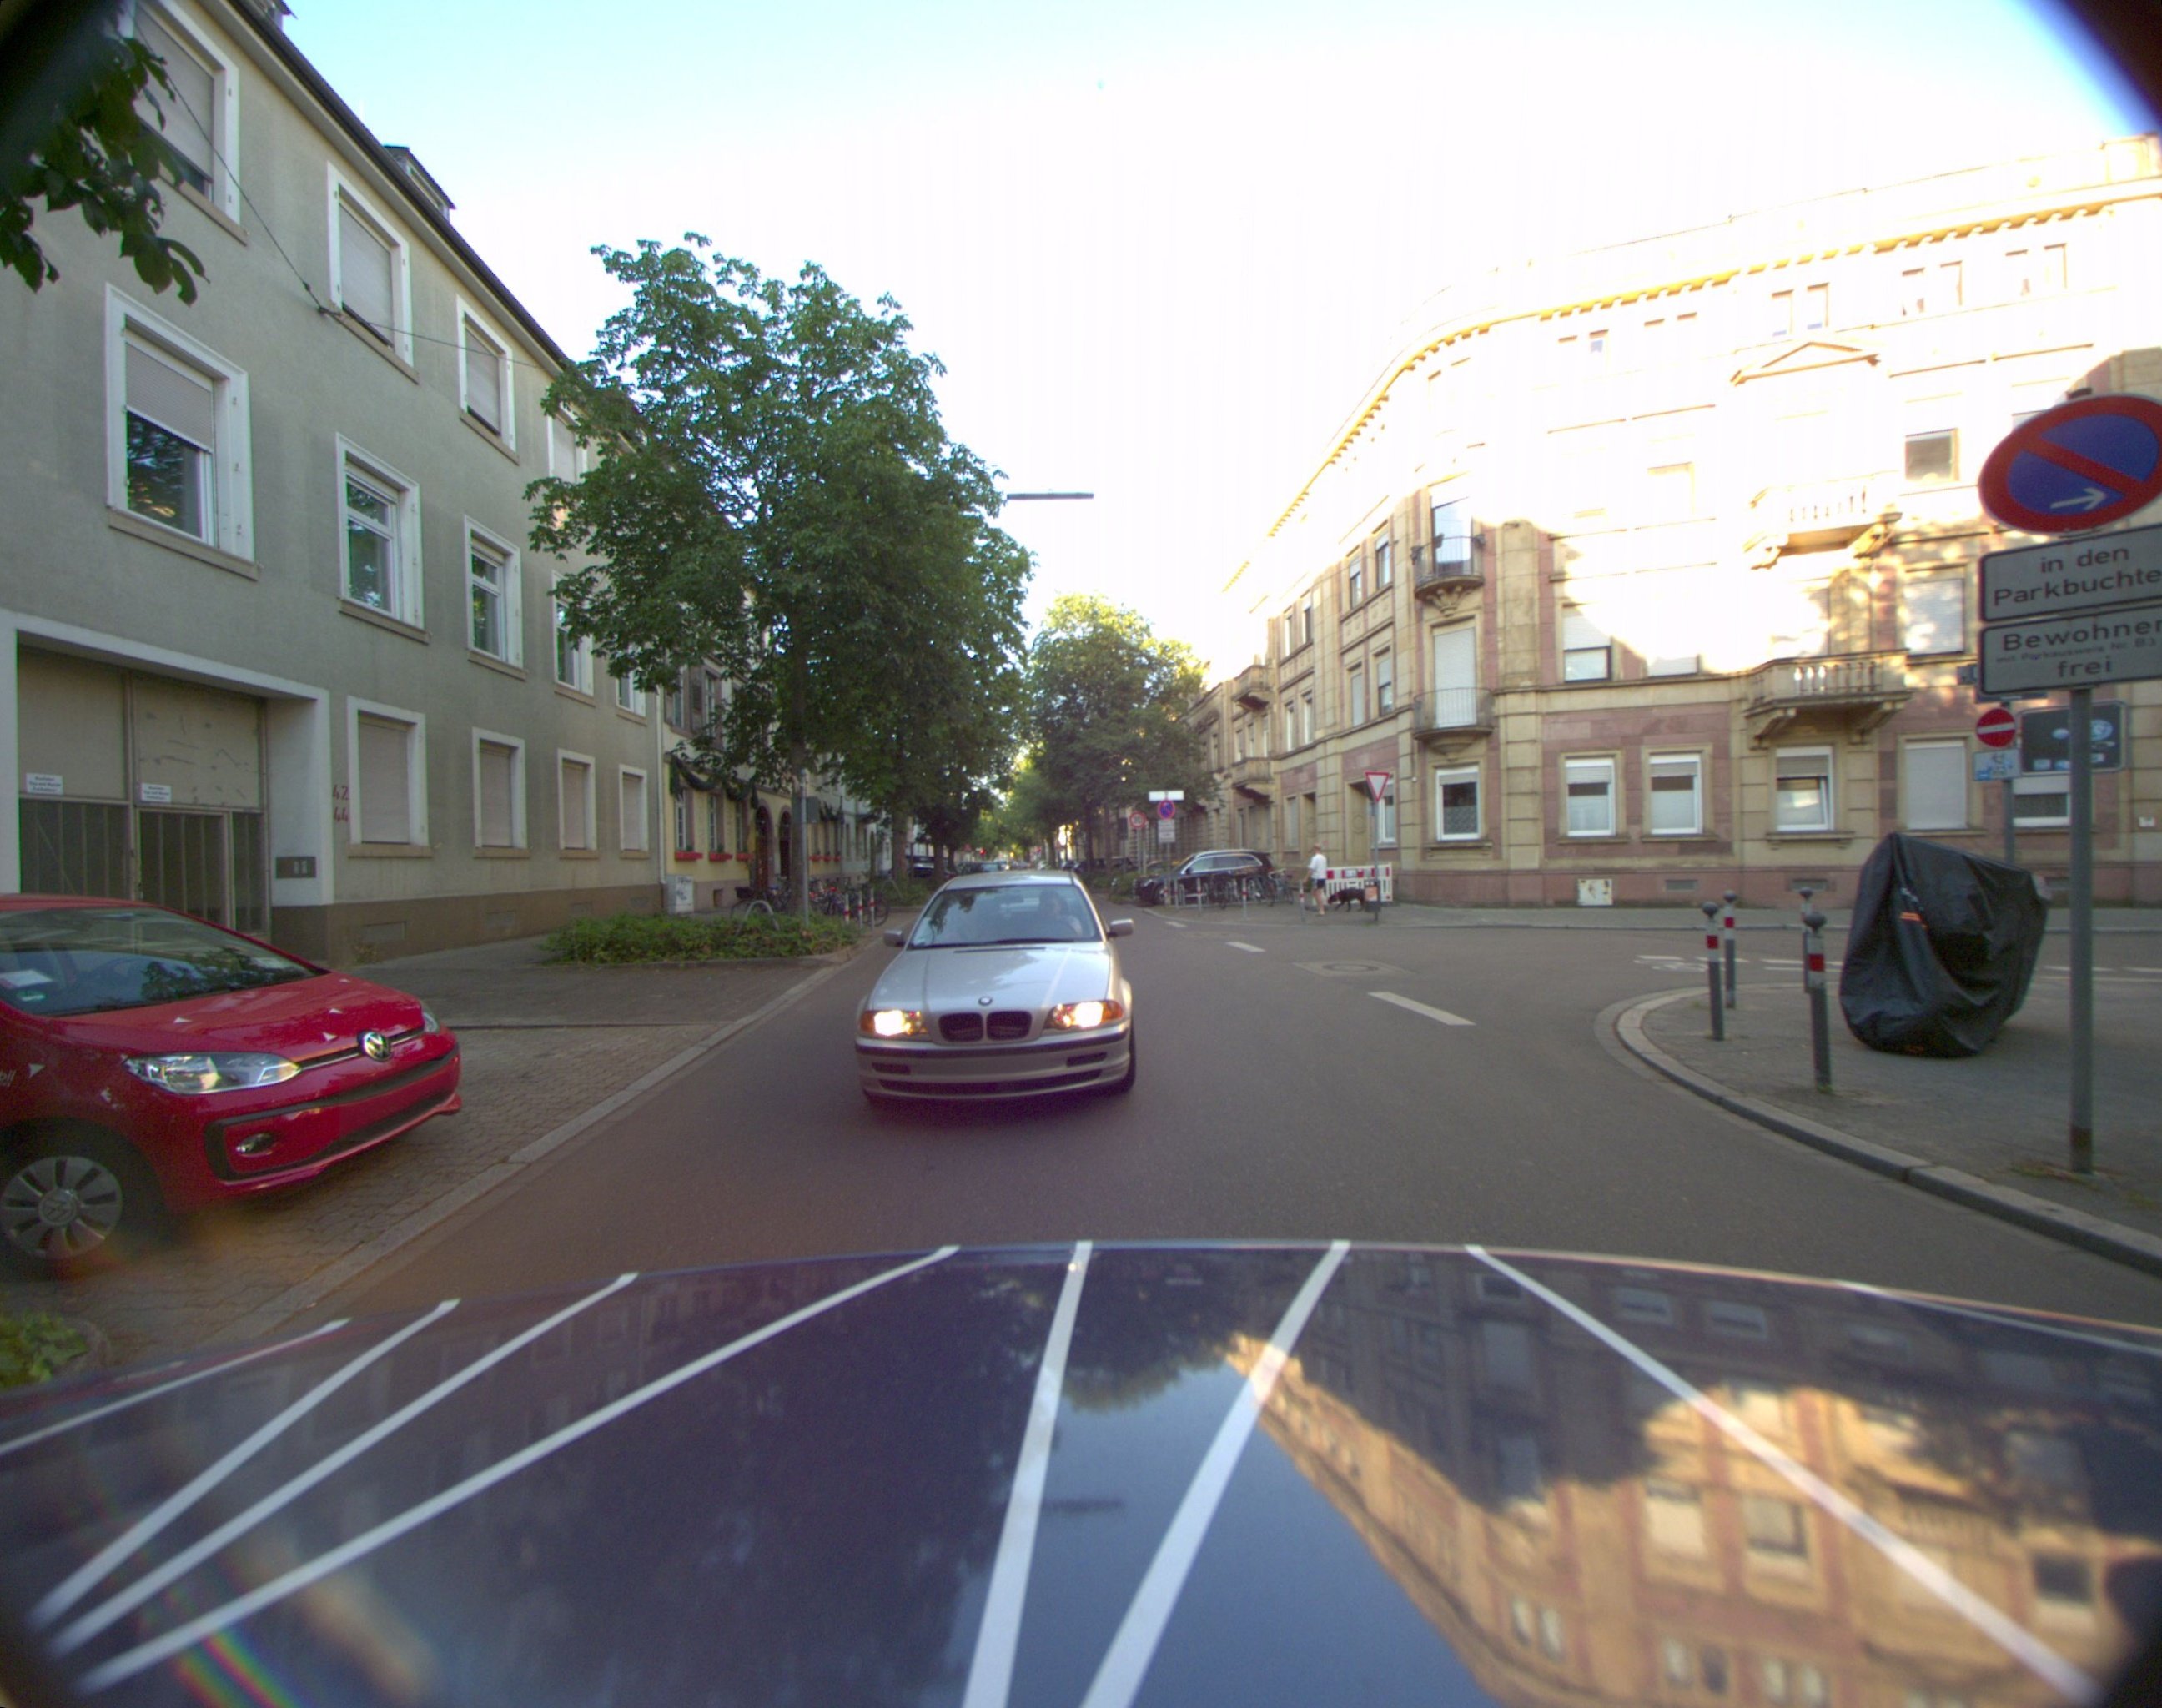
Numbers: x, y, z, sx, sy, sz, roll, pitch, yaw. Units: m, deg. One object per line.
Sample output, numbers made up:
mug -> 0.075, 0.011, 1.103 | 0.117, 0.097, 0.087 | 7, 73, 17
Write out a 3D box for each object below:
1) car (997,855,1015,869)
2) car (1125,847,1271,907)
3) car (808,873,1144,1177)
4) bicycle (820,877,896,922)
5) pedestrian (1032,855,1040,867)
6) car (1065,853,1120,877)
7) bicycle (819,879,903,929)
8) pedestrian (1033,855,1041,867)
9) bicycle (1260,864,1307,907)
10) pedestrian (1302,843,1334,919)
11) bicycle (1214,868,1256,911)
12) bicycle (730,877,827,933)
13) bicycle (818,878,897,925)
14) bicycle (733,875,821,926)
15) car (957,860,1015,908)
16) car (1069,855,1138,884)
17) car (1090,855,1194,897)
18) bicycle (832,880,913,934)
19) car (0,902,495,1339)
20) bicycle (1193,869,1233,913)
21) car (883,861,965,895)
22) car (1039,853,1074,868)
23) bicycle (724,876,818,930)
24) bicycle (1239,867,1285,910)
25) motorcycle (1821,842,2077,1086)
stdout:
car -> -8.402, 0.894, 85.382 | 1.806, 1.543, 3.998 | -1, 0, -4
car -> 3.720, 0.718, 24.663 | 4.423, 1.771, 1.742 | -1, 0, -2
car -> -0.514, 0.944, 6.162 | 1.711, 1.433, 4.436 | -1, 0, 1
bicycle -> -6.374, 1.287, 21.801 | 2.029, 1.220, 0.535 | -1, 0, -11
pedestrian -> -7.875, 1.197, 133.774 | 1.254, 2.002, 1.123 | -1, 1, -9
car -> 0.865, 0.866, 60.862 | 4.245, 1.749, 1.741 | -1, 0, -4
bicycle -> -5.666, 1.284, 19.650 | 2.029, 1.220, 0.535 | -1, 0, -11
pedestrian -> -7.537, 1.213, 131.040 | 1.185, 2.002, 1.020 | -2, 1, -9
bicycle -> 5.789, 0.882, 21.830 | 0.562, 1.144, 2.038 | -1, 0, -8
pedestrian -> 5.725, 0.636, 18.377 | 0.572, 1.797, 0.651 | -1, 1, 2
bicycle -> 4.377, 0.984, 21.739 | 0.562, 1.144, 2.038 | -1, 0, -6
bicycle -> -7.039, 1.173, 17.761 | 2.030, 1.220, 0.535 | -1, 0, -16
bicycle -> -6.133, 1.288, 20.931 | 2.029, 1.220, 0.535 | -1, 0, -11
bicycle -> -7.820, 1.183, 19.610 | 2.029, 1.220, 0.535 | -1, 0, -13
car -> -3.385, 1.040, 27.656 | 1.806, 1.543, 3.998 | -1, 0, -4
car -> 1.409, 0.957, 48.391 | 4.245, 1.749, 1.741 | -1, 0, -4
car -> 2.527, 0.909, 32.098 | 4.243, 1.668, 1.742 | -1, 0, -1
bicycle -> -5.043, 1.258, 18.410 | 1.849, 1.220, 0.535 | -1, 0, -16
car -> -5.173, 1.046, 3.434 | 3.621, 1.468, 1.663 | -1, 0, -7
bicycle -> 3.739, 1.028, 21.670 | 0.562, 1.144, 2.038 | -1, 0, -6
car -> -8.557, 1.274, 41.682 | 4.245, 1.729, 1.741 | -1, 0, -6
car -> -2.985, 0.824, 92.548 | 4.245, 1.749, 1.741 | -1, 0, -4
bicycle -> -7.499, 1.183, 18.464 | 2.030, 1.220, 0.535 | -1, 0, -16
bicycle -> 5.171, 0.962, 21.780 | 0.562, 1.144, 2.038 | -1, 0, -8
motorcycle -> 6.489, 0.682, 5.647 | 2.286, 1.496, 0.816 | -1, 1, -30
